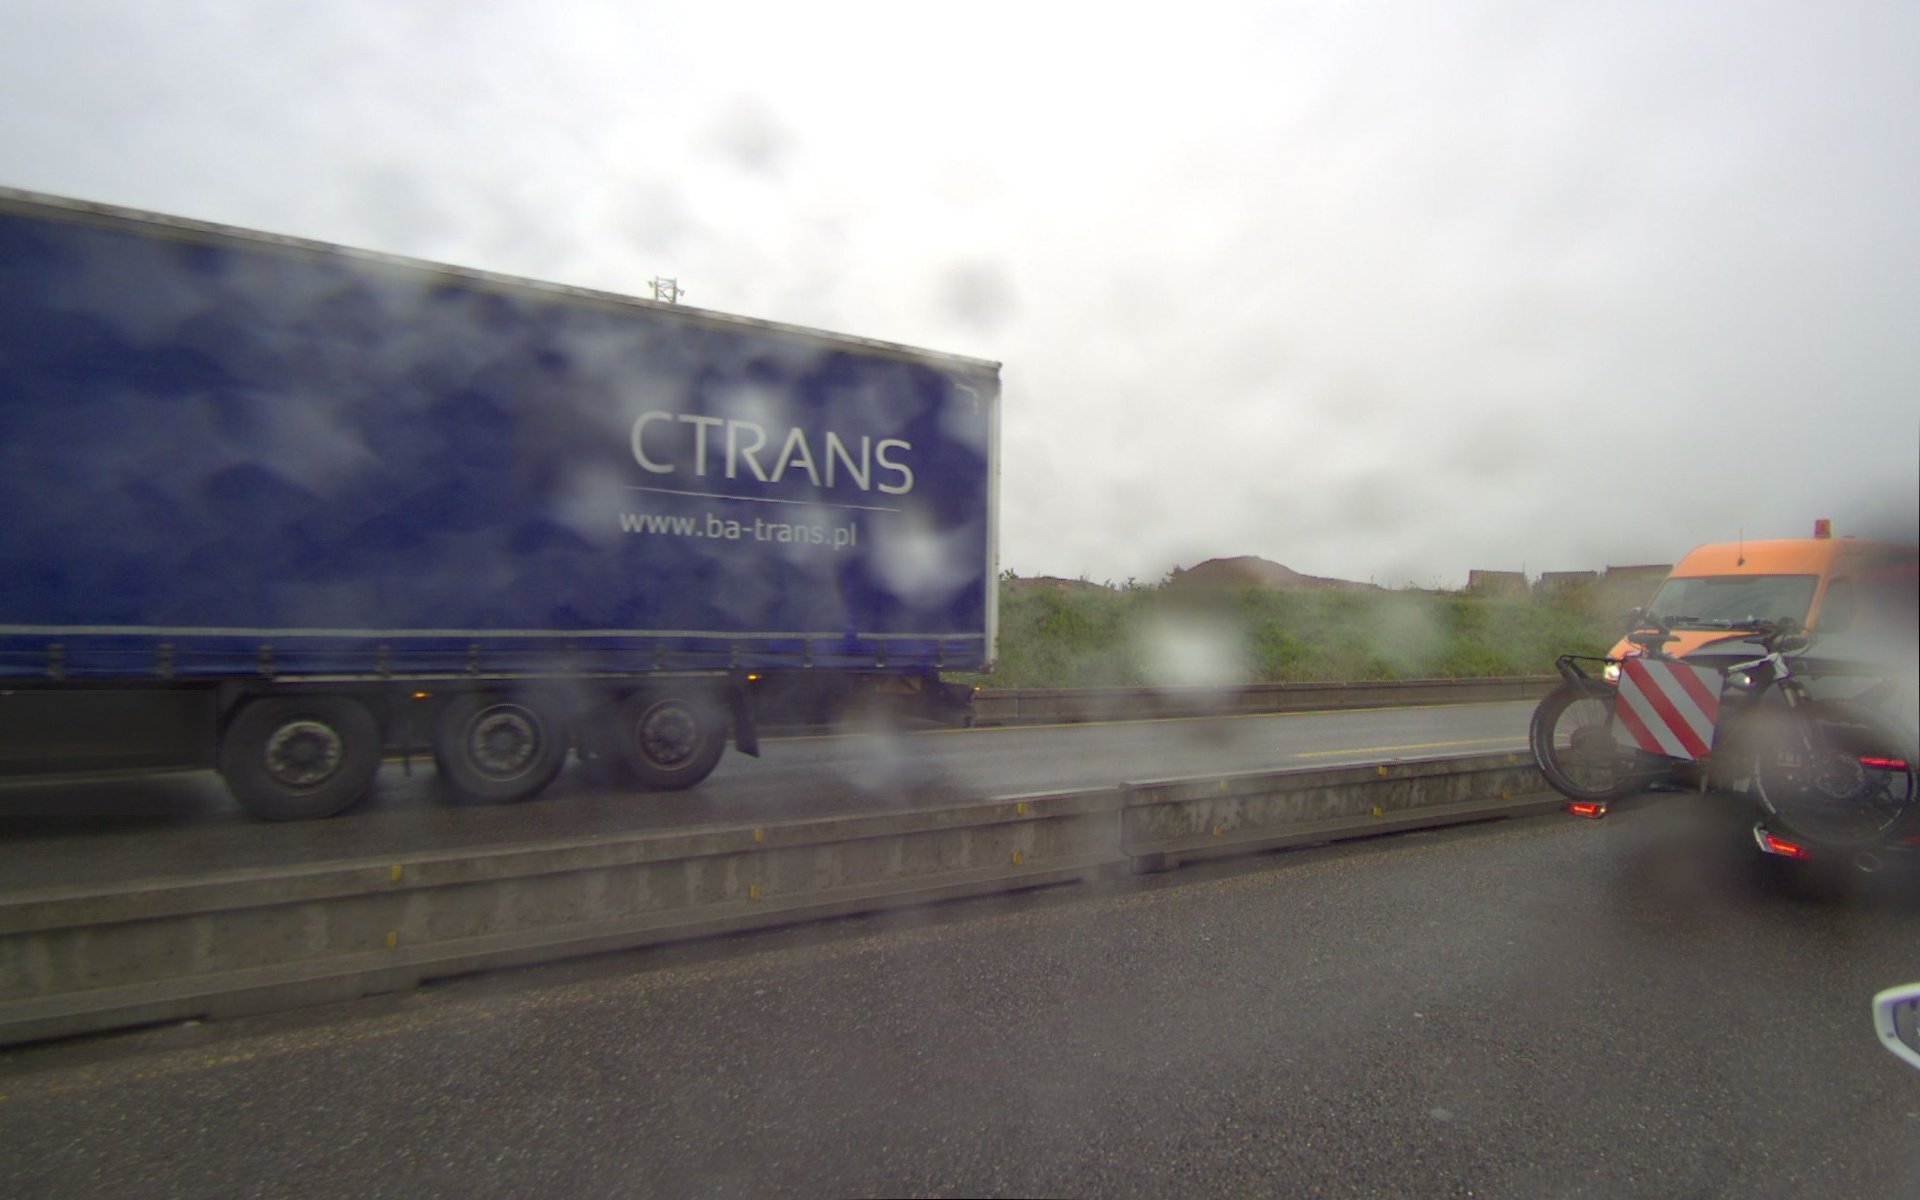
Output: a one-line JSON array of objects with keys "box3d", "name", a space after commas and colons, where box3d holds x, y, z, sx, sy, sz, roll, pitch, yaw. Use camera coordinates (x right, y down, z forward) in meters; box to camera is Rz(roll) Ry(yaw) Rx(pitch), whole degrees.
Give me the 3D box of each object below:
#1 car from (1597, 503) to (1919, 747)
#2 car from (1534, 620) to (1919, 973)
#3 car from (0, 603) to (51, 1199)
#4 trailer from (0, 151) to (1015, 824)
[{"box3d": [11.482, 0.317, 13.438, 6.938, 2.611, 2.044, 1, 0, -30], "name": "car"}, {"box3d": [6.298, 0.932, 6.658, 5.560, 1.482, 1.727, 0, 0, -29], "name": "car"}, {"box3d": [-3.600, 0.658, 0.735, 4.033, 1.441, 1.641, 2, -1, -30], "name": "car"}, {"box3d": [-6.000, -0.678, 7.618, 13.580, 4.089, 2.766, 1, 0, -31], "name": "trailer"}]
